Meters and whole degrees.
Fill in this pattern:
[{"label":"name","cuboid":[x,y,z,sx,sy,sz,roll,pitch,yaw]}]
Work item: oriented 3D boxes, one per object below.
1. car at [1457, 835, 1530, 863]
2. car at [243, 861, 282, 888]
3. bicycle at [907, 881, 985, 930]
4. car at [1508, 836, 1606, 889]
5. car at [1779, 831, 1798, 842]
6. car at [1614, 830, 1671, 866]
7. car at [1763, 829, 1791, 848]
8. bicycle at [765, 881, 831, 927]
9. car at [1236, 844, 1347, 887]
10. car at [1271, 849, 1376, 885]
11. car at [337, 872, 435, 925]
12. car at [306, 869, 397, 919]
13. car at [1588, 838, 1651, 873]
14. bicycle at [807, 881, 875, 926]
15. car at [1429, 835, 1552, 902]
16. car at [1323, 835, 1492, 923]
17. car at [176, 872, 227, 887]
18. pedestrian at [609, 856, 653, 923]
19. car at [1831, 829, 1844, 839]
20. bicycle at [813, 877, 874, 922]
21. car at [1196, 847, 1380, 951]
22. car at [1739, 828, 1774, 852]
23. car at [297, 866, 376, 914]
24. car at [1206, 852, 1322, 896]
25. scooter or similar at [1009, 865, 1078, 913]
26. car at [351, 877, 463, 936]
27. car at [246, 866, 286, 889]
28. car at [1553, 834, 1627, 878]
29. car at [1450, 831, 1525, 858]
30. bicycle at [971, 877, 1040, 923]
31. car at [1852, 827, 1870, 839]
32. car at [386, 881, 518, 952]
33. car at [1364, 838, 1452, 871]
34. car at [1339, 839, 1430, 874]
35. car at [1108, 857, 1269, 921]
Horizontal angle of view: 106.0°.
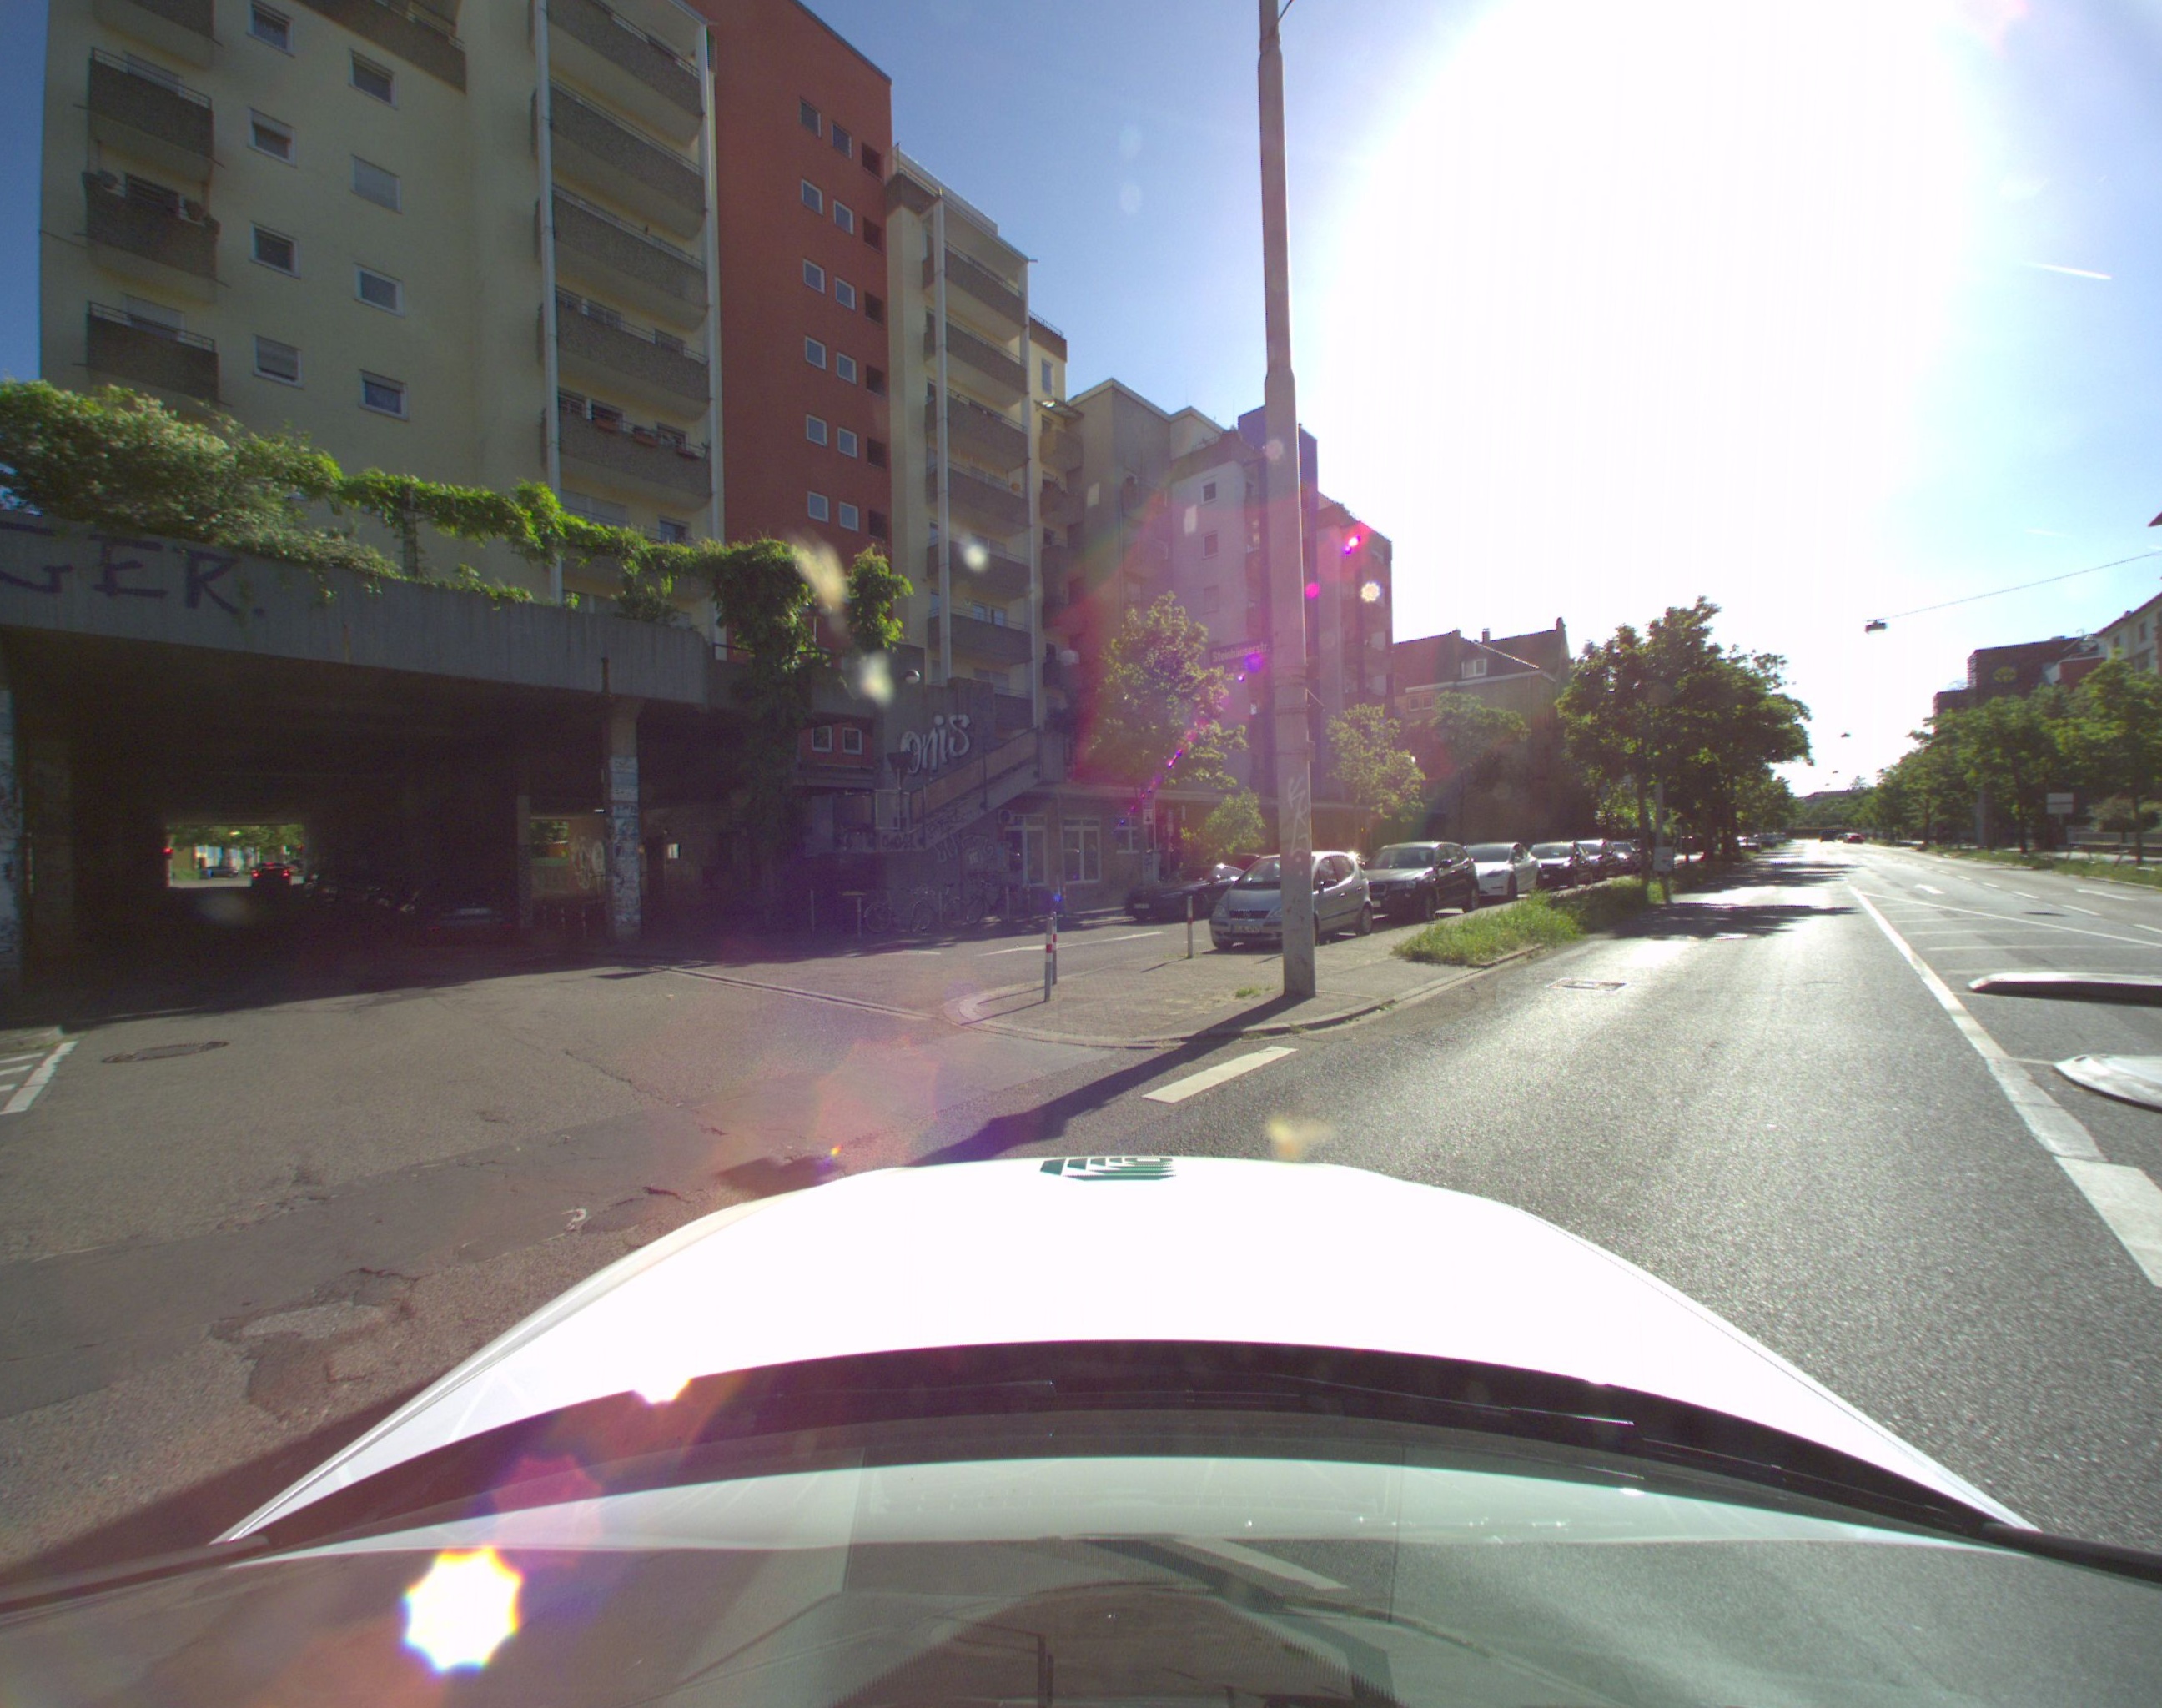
[{"label":"car","cuboid":[27.171,-0.333,53.728,3.948,1.769,1.898,-1,0,39]},{"label":"car","cuboid":[-61.277,1.485,60.940,4.527,1.882,1.832,-1,1,43]},{"label":"bicycle","cuboid":[-3.162,1.190,19.157,1.808,1.030,0.411,-2,3,-32]},{"label":"car","cuboid":[15.995,0.259,27.258,1.845,1.587,4.024,-3,-1,44]},{"label":"car","cuboid":[111.550,-2.752,128.333,1.975,1.695,4.024,-2,0,44]},{"label":"car","cuboid":[27.182,-0.294,39.375,1.746,1.646,4.025,-1,0,42]},{"label":"car","cuboid":[77.903,-1.780,91.110,2.042,2.013,4.657,-2,0,44]},{"label":"bicycle","cuboid":[-6.679,1.151,19.178,1.779,1.001,0.487,-1,2,34]},{"label":"car","cuboid":[8.552,0.465,33.233,3.948,1.607,1.853,-1,0,39]},{"label":"car","cuboid":[10.402,0.552,35.055,3.948,1.424,1.698,-1,0,39]},{"label":"car","cuboid":[-21.785,1.347,25.492,3.591,1.487,1.619,-2,0,38]},{"label":"car","cuboid":[-25.482,1.356,28.397,4.102,1.546,1.746,-2,0,39]},{"label":"car","cuboid":[23.843,0.052,36.012,1.738,1.398,4.025,-1,0,42]},{"label":"bicycle","cuboid":[-5.708,1.159,19.359,1.599,1.001,0.417,0,2,19]},{"label":"car","cuboid":[11.580,0.361,22.874,1.870,1.662,4.558,-4,-1,42]},{"label":"car","cuboid":[7.206,0.461,17.722,1.850,1.627,4.532,-2,0,43]},{"label":"car","cuboid":[-105.416,3.031,97.658,4.023,1.574,1.620,-2,0,-43]},{"label":"pedestrian","cuboid":[-11.980,0.922,21.687,0.748,1.699,0.801,2,2,41]},{"label":"car","cuboid":[141.469,-3.781,152.257,1.741,1.783,4.024,-2,0,43]},{"label":"bicycle","cuboid":[-5.894,1.112,20.158,1.779,1.001,0.418,1,2,35]},{"label":"car","cuboid":[3.708,0.695,14.232,1.703,1.518,3.554,-2,0,40]},{"label":"car","cuboid":[59.400,-1.264,71.609,1.975,2.013,4.230,-2,0,45]},{"label":"car","cuboid":[-29.247,1.359,31.952,4.315,1.666,1.870,0,0,42]},{"label":"car","cuboid":[6.992,0.735,31.252,3.948,1.551,1.781,-1,0,39]},{"label":"scooter or similar","cuboid":[-1.064,0.968,22.921,1.947,1.277,0.635,-1,1,38]},{"label":"car","cuboid":[-18.662,1.370,22.488,4.011,1.410,1.778,-1,0,42]},{"label":"car","cuboid":[-56.739,1.588,56.692,4.158,1.501,1.843,-1,1,43]},{"label":"car","cuboid":[19.793,0.057,31.593,1.735,1.553,4.025,-2,0,42]},{"label":"car","cuboid":[25.930,-0.586,51.991,3.948,1.629,1.698,-1,0,39]},{"label":"bicycle","cuboid":[-1.879,1.139,20.564,1.811,1.001,0.411,-2,3,-38]},{"label":"car","cuboid":[123.100,-3.334,128.527,1.933,1.708,4.024,-2,0,43]},{"label":"car","cuboid":[-15.018,1.378,19.353,4.549,1.433,1.868,-2,-2,44]},{"label":"car","cuboid":[17.230,0.054,43.019,3.948,1.629,1.698,-1,0,39]},{"label":"car","cuboid":[15.299,0.138,41.100,3.948,1.629,1.698,-1,0,39]},{"label":"car","cuboid":[2.972,0.866,21.754,1.873,1.398,4.556,-2,0,44]}]
